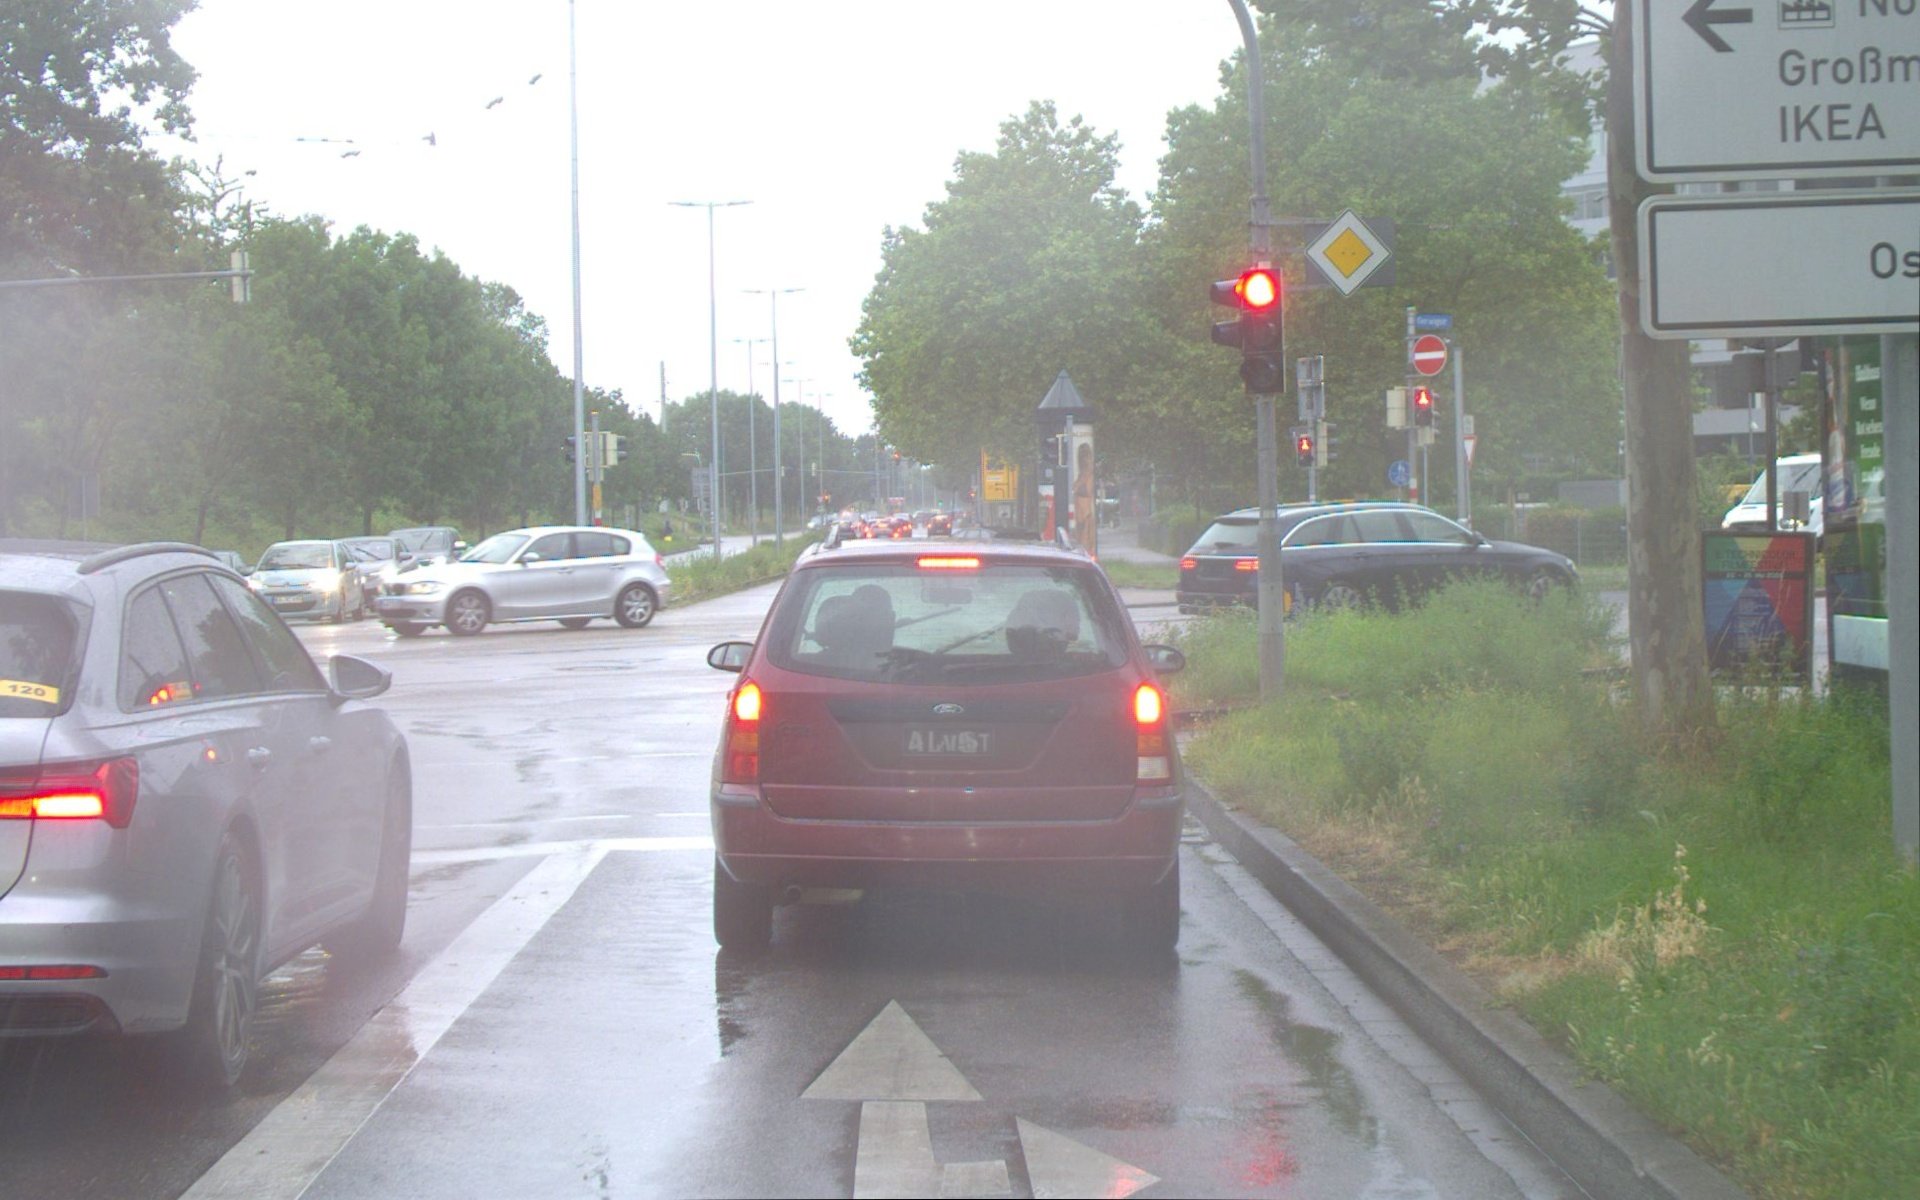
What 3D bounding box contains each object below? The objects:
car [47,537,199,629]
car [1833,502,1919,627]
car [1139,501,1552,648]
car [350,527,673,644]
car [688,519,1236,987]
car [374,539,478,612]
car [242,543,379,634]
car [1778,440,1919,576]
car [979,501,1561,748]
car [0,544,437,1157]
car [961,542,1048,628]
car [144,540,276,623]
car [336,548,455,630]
[{"bbox_3d":[-14.659,-0.329,60.387,1.712,1.525,4.000,-1,1,-1],"label":"car"},{"bbox_3d":[13.372,-0.476,43.728,4.372,1.532,1.802,-1,1,-29],"label":"car"},{"bbox_3d":[4.365,-0.309,38.764,4.372,1.532,1.802,-2,1,-29],"label":"car"},{"bbox_3d":[-6.098,-0.214,46.938,3.988,1.481,1.818,-2,1,-39],"label":"car"},{"bbox_3d":[-0.020,0.469,13.577,1.796,1.532,4.387,1,1,-1],"label":"car"},{"bbox_3d":[-11.819,-0.565,76.296,1.712,1.525,4.000,-1,1,-1],"label":"car"},{"bbox_3d":[-11.602,-0.238,61.609,1.712,1.525,4.000,-1,1,-1],"label":"car"},{"bbox_3d":[16.319,-1.637,59.193,4.374,2.183,1.802,-5,3,-35],"label":"car"},{"bbox_3d":[2.418,0.115,26.115,4.375,1.531,1.801,-5,4,-40],"label":"car"},{"bbox_3d":[-2.739,0.551,10.303,1.690,1.428,4.574,0,1,-1],"label":"car"},{"bbox_3d":[1.069,-0.398,84.182,1.993,2.007,4.000,-1,1,-1],"label":"car"},{"bbox_3d":[-14.566,-0.380,66.926,1.712,1.525,4.000,-1,1,-1],"label":"car"},{"bbox_3d":[-11.199,-0.249,68.389,1.712,1.525,4.000,-1,1,-1],"label":"car"}]
